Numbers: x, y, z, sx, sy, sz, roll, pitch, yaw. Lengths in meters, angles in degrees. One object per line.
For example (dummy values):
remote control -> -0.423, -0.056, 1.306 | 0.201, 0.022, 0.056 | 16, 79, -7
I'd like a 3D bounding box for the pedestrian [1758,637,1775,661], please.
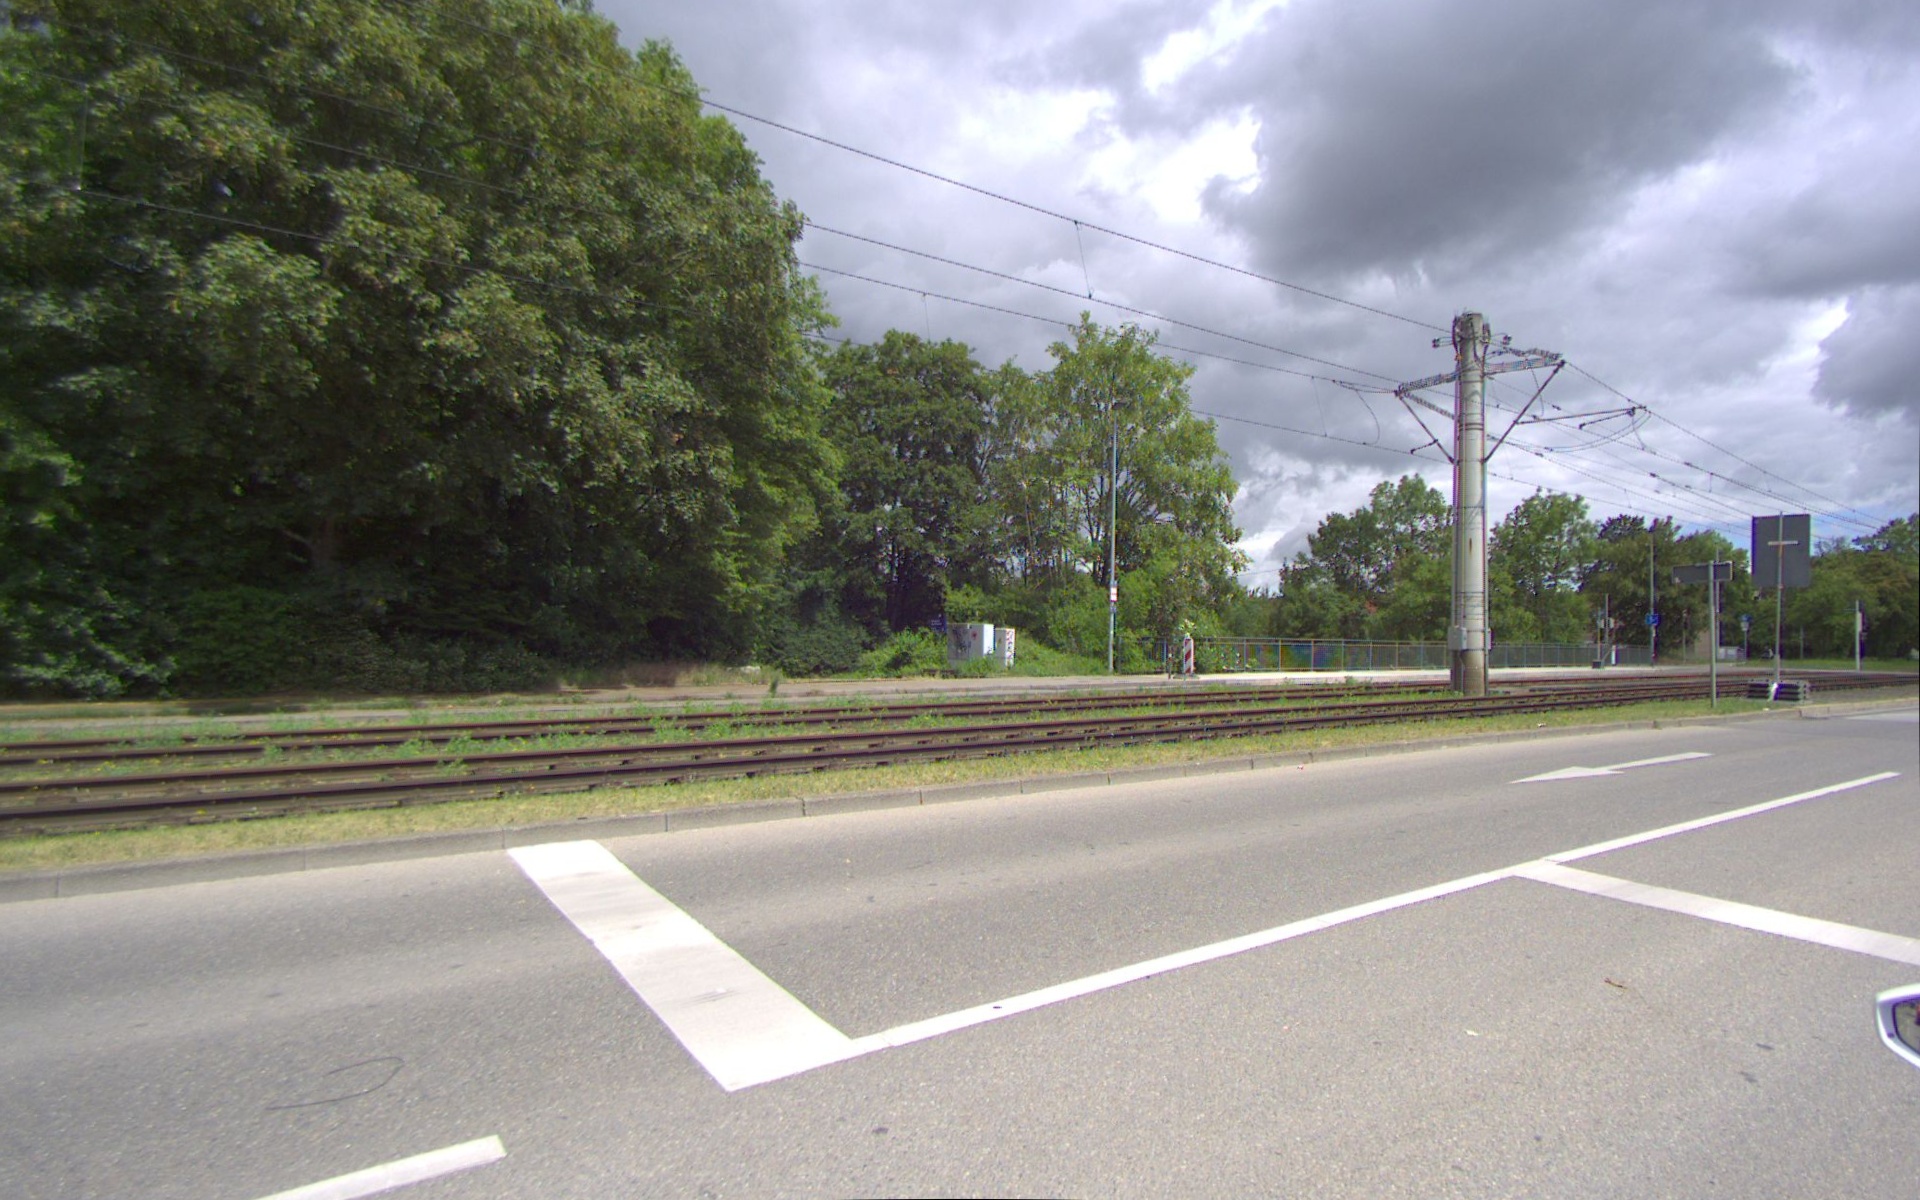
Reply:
pedestrian -> 64.098, 3.901, 79.826 | 0.800, 1.835, 0.796 | 2, 0, -34
